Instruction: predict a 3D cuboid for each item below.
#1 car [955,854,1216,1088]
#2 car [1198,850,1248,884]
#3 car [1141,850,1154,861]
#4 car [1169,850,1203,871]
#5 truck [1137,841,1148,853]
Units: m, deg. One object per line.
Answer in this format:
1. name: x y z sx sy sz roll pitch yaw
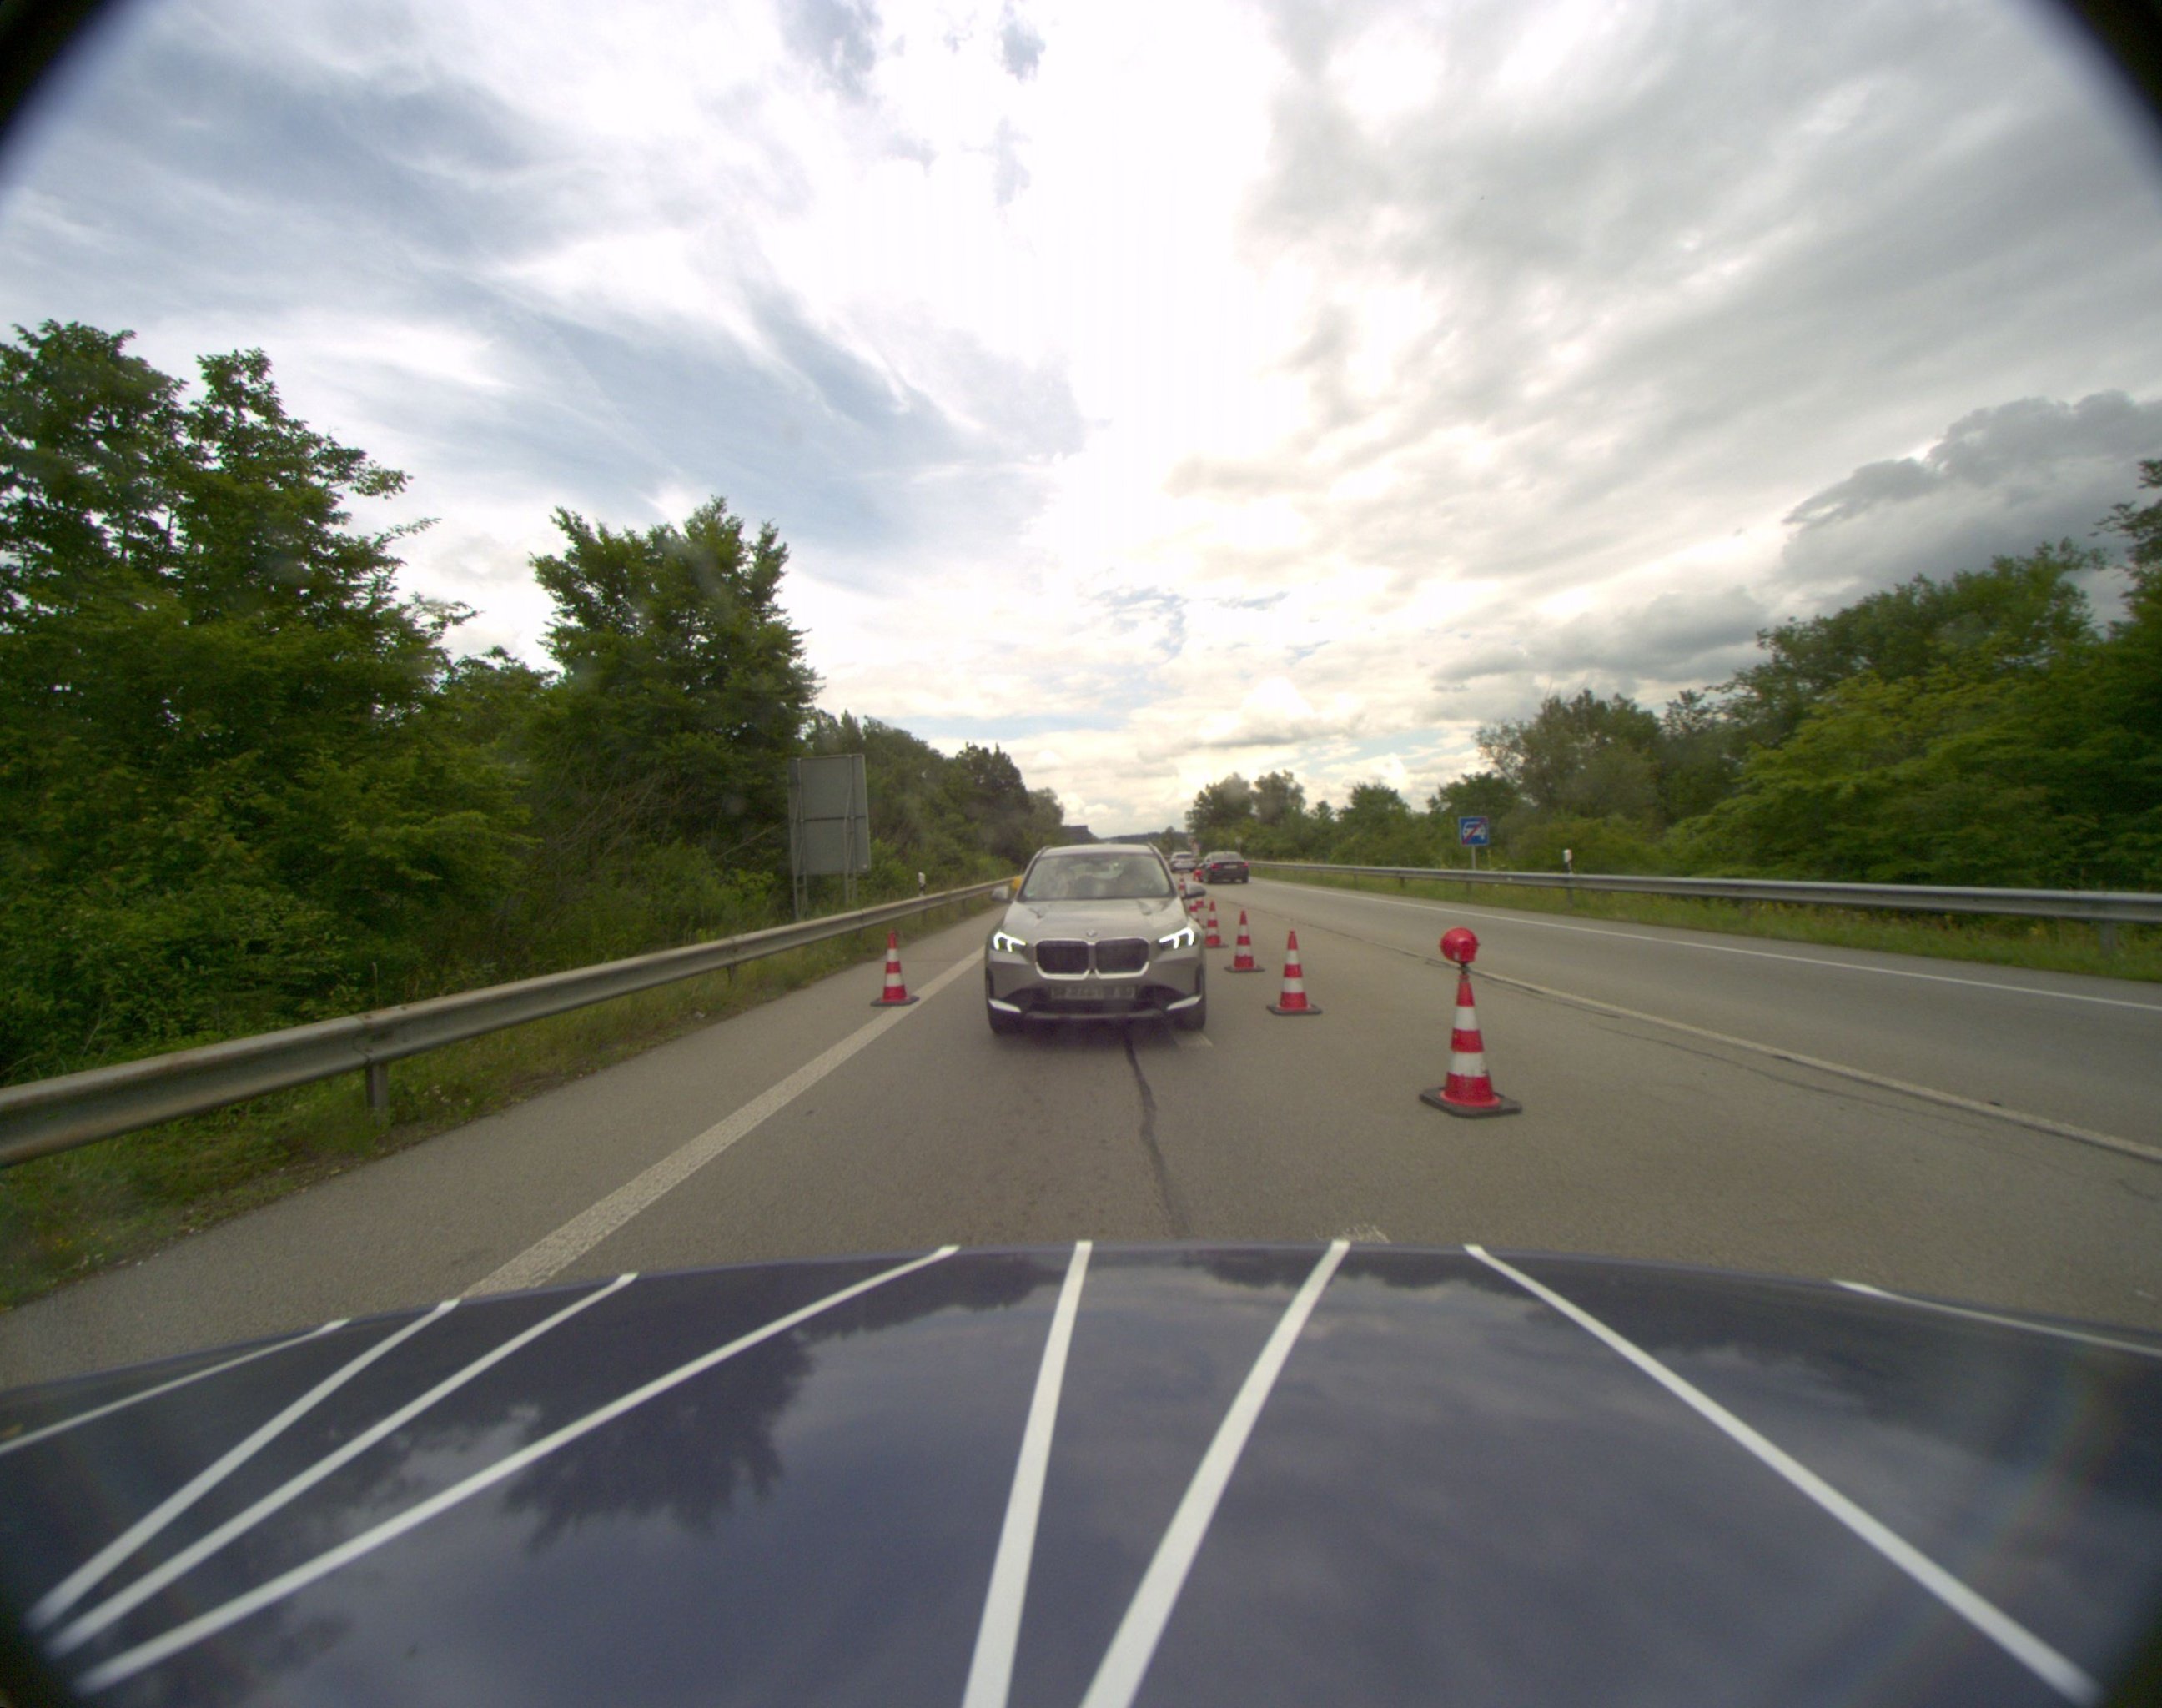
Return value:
1. car: 0.152 0.845 7.635 1.817 1.598 4.434 -2 0 3
2. car: 6.536 0.566 35.368 1.712 1.428 4.337 -2 0 4
3. car: 12.226 0.250 139.779 2.034 1.976 5.316 -2 0 3
4. car: 7.454 0.430 54.259 1.683 1.393 4.373 -2 0 -1
5. truck: 20.351 -2.277 251.085 3.113 3.682 9.545 -2 0 3
